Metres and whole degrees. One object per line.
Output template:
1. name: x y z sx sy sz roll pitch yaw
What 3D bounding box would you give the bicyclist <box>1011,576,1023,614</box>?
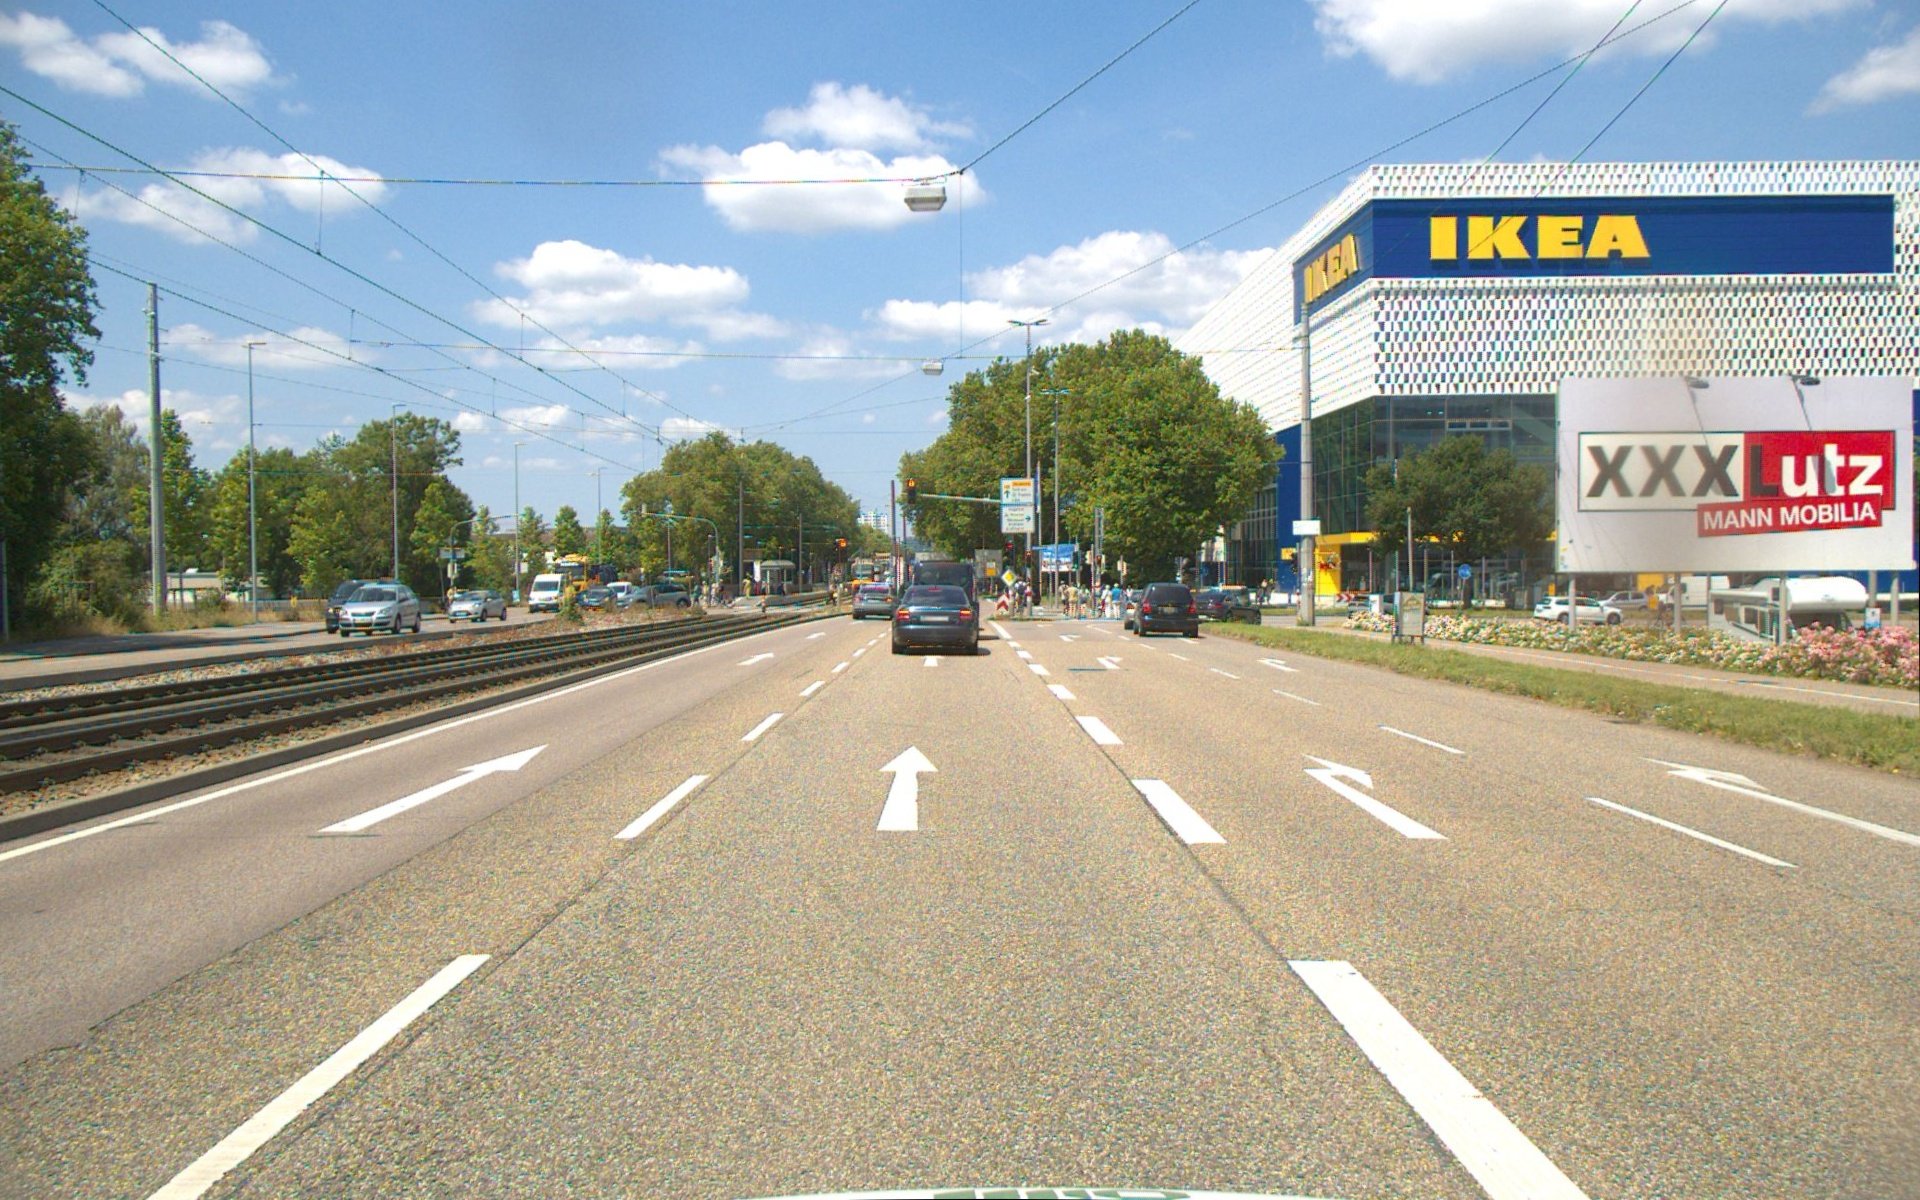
1. bicyclist: 2.799 -0.243 81.030 0.518 1.820 1.088 0 0 0

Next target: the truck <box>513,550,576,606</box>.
1. truck: -28.150 -1.475 112.234 2.711 3.631 6.439 1 0 -1

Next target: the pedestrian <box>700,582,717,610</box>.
1. pedestrian: -16.268 -0.252 107.160 0.806 1.750 0.775 1 0 21

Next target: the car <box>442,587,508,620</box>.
1. car: -22.772 0.155 77.815 1.784 1.440 3.885 -2 1 2

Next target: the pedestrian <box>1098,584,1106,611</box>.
1. pedestrian: 6.941 -0.129 80.974 0.365 1.326 0.365 1 0 2

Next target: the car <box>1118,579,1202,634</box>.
1. car: 5.935 0.166 49.486 1.953 1.512 4.000 2 1 -1

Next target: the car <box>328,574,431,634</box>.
1. car: -17.032 0.092 48.736 1.651 1.611 4.057 -3 1 -2

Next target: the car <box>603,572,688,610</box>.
1. car: -17.465 -0.511 91.863 4.333 1.951 1.988 1 1 -21

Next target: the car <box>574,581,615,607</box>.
1. car: -24.682 -0.420 111.797 1.785 1.699 4.461 1 1 -1

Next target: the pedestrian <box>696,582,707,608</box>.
1. pedestrian: -16.216 -0.306 103.808 0.671 1.666 0.572 0 0 -4

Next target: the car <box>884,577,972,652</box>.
1. car: -0.668 0.268 35.433 1.756 1.480 4.000 -1 1 -1

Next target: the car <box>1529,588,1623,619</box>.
1. car: 32.522 0.194 87.382 4.305 1.512 1.991 1 1 -17

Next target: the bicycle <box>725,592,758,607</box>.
1. bicycle: -13.800 -0.046 104.362 2.018 0.941 0.751 1 0 -11

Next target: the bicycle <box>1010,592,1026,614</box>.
1. bicycle: 2.867 0.140 81.541 0.673 1.011 2.751 1 1 0

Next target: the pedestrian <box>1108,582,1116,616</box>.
1. pedestrian: 7.443 -0.071 80.950 0.314 1.663 0.377 1 0 2

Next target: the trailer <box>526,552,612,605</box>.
1. trailer: -28.260 -1.548 120.486 2.711 3.579 15.876 1 0 -1

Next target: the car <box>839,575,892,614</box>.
1. car: -3.869 -0.259 68.428 1.953 1.512 4.000 2 1 -1

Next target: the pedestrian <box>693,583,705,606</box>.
1. pedestrian: -16.502 -0.346 104.642 0.671 1.468 0.572 0 0 -4

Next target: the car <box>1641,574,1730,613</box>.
1. car: 45.040 -0.425 102.700 4.660 2.349 2.001 1 0 2

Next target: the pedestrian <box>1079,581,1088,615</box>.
1. pedestrian: 6.041 -0.095 81.008 0.435 1.663 0.430 1 0 2

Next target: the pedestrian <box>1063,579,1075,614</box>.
1. pedestrian: 5.347 -0.169 80.977 0.542 1.663 0.433 1 0 2

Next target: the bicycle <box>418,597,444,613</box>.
1. bicycle: -33.152 0.302 103.695 1.461 1.004 0.485 1 0 -5

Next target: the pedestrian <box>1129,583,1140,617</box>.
1. pedestrian: 8.769 0.019 83.027 0.510 1.699 0.494 1 0 2

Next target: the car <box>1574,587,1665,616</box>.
1. car: 37.871 0.064 95.037 4.403 1.512 2.001 2 1 3

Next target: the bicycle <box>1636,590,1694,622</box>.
1. bicycle: 34.081 0.294 79.941 2.372 1.507 0.989 1 0 4

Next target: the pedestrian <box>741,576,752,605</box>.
1. pedestrian: -14.838 -0.649 114.939 0.672 2.049 0.572 0 0 -5

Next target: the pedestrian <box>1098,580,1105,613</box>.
1. pedestrian: 7.109 -0.194 83.029 0.332 1.663 0.377 1 0 2

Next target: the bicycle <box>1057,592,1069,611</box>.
1. bicycle: 5.132 0.068 82.677 0.538 0.892 1.698 1 1 2

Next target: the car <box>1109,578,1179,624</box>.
1. car: 6.515 0.023 58.904 1.953 1.512 4.166 2 1 -1

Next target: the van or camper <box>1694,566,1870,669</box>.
1. van or camper: 26.495 0.500 53.699 2.454 3.073 7.226 1 1 3

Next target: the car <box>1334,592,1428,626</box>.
1. car: 20.354 0.440 79.937 4.079 1.512 1.984 1 1 -25

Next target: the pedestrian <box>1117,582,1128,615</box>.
1. pedestrian: 8.160 -0.076 83.041 0.493 1.663 0.449 1 0 2

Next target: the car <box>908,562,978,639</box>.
1. car: -0.466 -0.023 45.032 1.799 1.984 4.000 0 1 -1

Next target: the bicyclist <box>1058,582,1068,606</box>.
1. bicyclist: 5.171 -0.307 83.127 0.461 1.214 0.791 0 0 2

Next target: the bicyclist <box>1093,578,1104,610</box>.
1. bicyclist: 7.795 -0.331 93.187 0.517 1.795 0.828 0 0 13

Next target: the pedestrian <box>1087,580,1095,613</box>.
1. pedestrian: 6.587 -0.181 83.100 0.373 1.663 0.377 1 0 2
